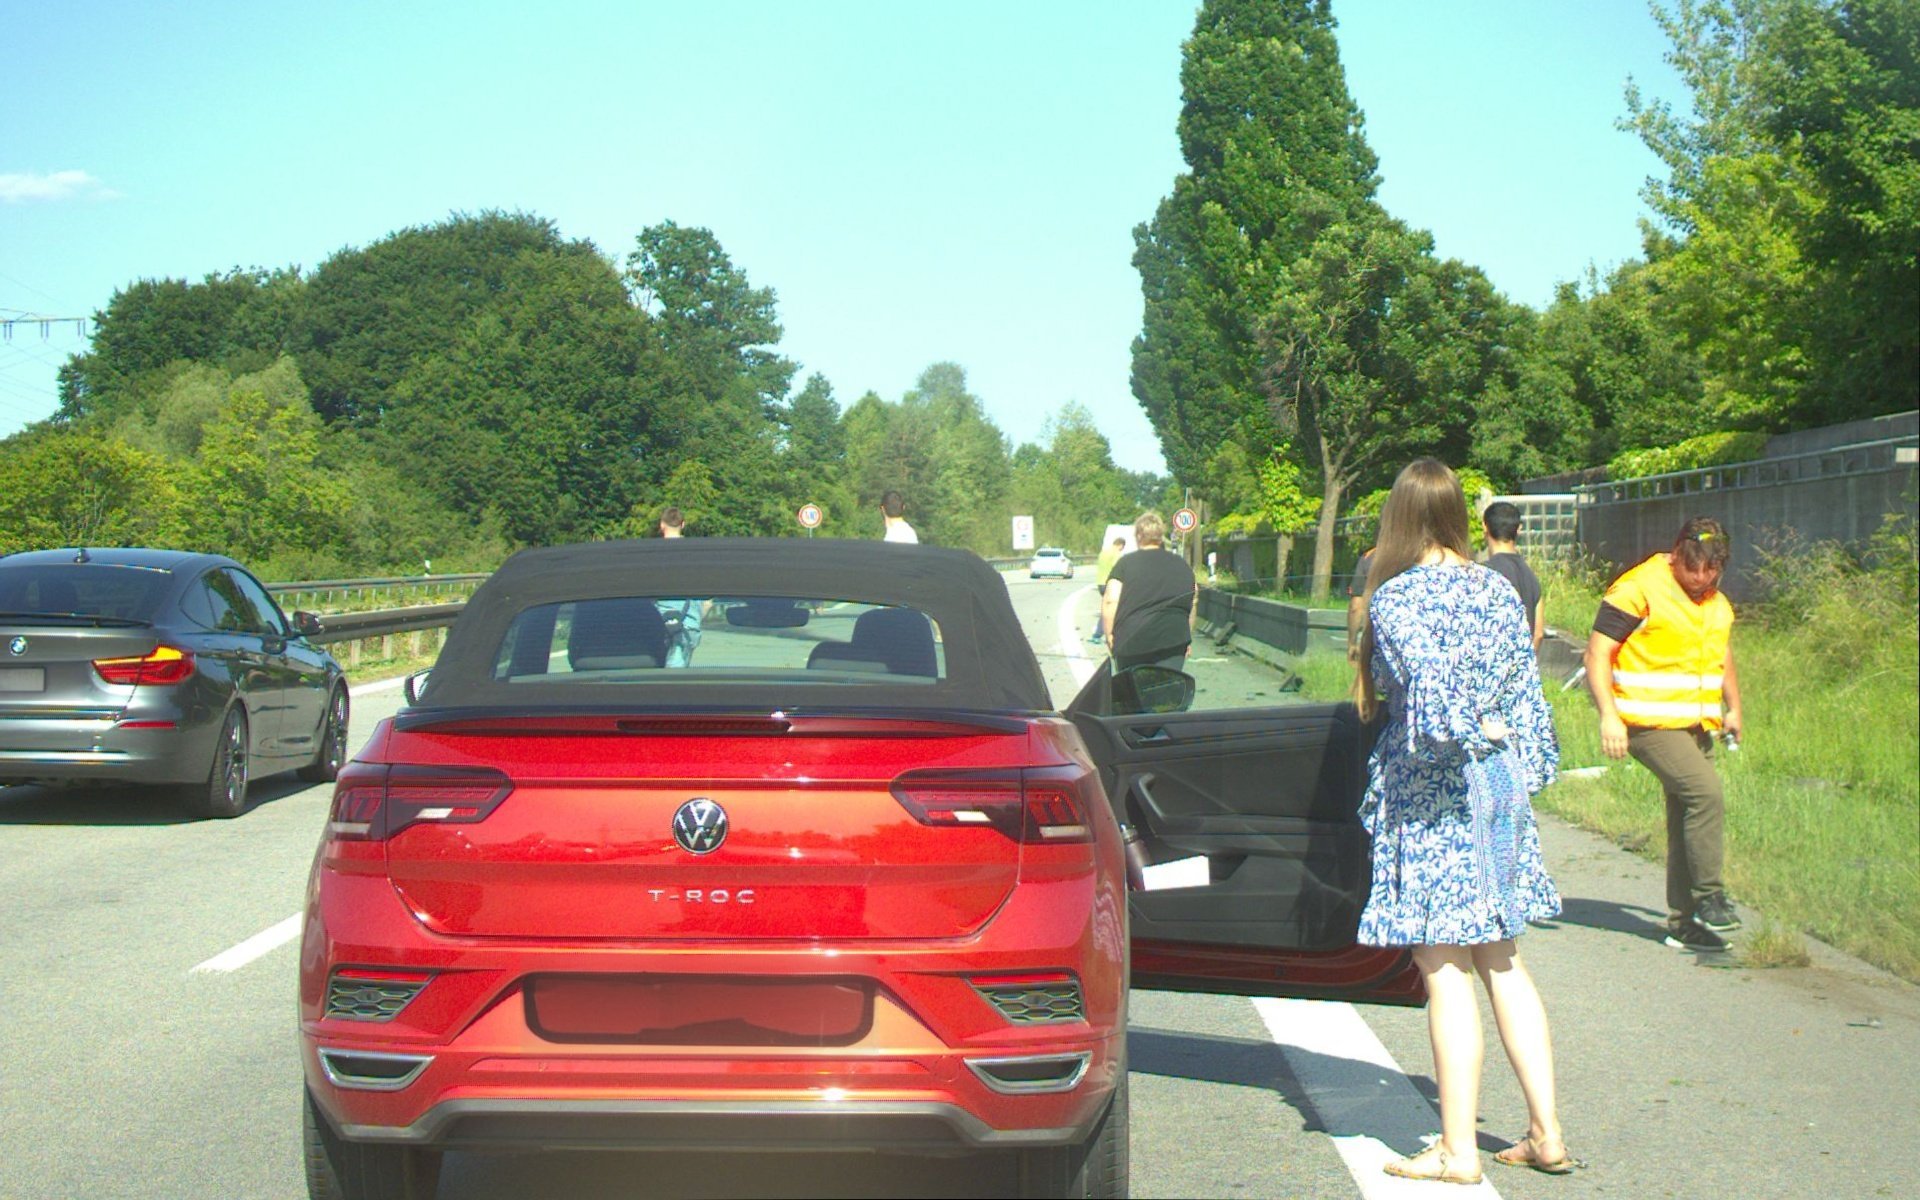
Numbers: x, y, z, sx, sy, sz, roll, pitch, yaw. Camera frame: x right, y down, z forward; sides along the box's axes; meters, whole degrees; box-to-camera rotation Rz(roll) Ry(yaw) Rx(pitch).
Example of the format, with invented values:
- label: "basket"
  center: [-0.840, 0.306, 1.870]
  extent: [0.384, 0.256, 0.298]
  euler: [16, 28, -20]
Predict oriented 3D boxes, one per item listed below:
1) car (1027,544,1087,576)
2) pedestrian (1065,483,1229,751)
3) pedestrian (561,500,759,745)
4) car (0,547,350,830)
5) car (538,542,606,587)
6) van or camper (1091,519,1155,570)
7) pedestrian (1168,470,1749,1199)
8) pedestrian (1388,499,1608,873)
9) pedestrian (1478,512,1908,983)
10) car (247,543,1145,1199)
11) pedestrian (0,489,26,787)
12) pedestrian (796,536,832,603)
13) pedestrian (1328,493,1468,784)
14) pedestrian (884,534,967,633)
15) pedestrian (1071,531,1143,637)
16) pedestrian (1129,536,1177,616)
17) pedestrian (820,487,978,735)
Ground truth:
- label: "car"
  center: [4.583, -1.905, 162.140]
  extent: [1.734, 1.482, 4.207]
  euler: [1, 1, 17]
- label: "pedestrian"
  center: [1.338, 0.109, 24.785]
  extent: [1.090, 1.876, 1.069]
  euler: [-1, 1, -1]
- label: "pedestrian"
  center: [-2.245, 0.160, 25.831]
  extent: [1.105, 1.782, 1.090]
  euler: [1, 0, 20]
- label: "car"
  center: [-4.767, 0.421, 19.840]
  extent: [1.694, 1.421, 4.334]
  euler: [1, 1, 0]
- label: "car"
  center: [-12.801, -1.188, 113.632]
  extent: [1.712, 1.420, 4.407]
  euler: [1, 1, 0]
- label: "van or camper"
  center: [7.663, -2.602, 161.037]
  extent: [1.995, 2.308, 4.467]
  euler: [1, 1, 16]
- label: "pedestrian"
  center: [1.149, 0.554, 8.120]
  extent: [0.889, 1.689, 1.129]
  euler: [-1, 1, -22]
- label: "pedestrian"
  center: [2.566, 0.389, 16.350]
  extent: [0.895, 1.719, 0.754]
  euler: [1, 0, 18]
- label: "pedestrian"
  center: [2.725, 0.507, 12.876]
  extent: [0.957, 1.648, 1.278]
  euler: [-1, 1, -29]
- label: "car"
  center: [-0.505, 0.609, 8.790]
  extent: [1.732, 1.482, 4.210]
  euler: [1, 1, 0]
- label: "pedestrian"
  center: [-6.200, 0.235, 20.208]
  extent: [1.041, 1.757, 1.118]
  euler: [-1, 1, 3]
- label: "pedestrian"
  center: [-3.722, -0.770, 87.548]
  extent: [0.792, 1.683, 0.792]
  euler: [1, 0, 6]
- label: "pedestrian"
  center: [2.714, 0.230, 21.285]
  extent: [0.812, 1.753, 0.828]
  euler: [1, 0, 8]
- label: "pedestrian"
  center: [-0.599, -0.288, 59.710]
  extent: [1.113, 1.683, 0.973]
  euler: [1, 0, -26]
- label: "pedestrian"
  center: [2.369, -0.260, 55.298]
  extent: [1.056, 1.683, 1.017]
  euler: [1, 0, 7]
- label: "pedestrian"
  center: [4.140, -0.512, 73.525]
  extent: [0.996, 1.683, 1.010]
  euler: [1, 0, 4]
- label: "pedestrian"
  center: [-0.497, 0.073, 27.299]
  extent: [1.105, 1.906, 1.257]
  euler: [-1, 1, -7]
